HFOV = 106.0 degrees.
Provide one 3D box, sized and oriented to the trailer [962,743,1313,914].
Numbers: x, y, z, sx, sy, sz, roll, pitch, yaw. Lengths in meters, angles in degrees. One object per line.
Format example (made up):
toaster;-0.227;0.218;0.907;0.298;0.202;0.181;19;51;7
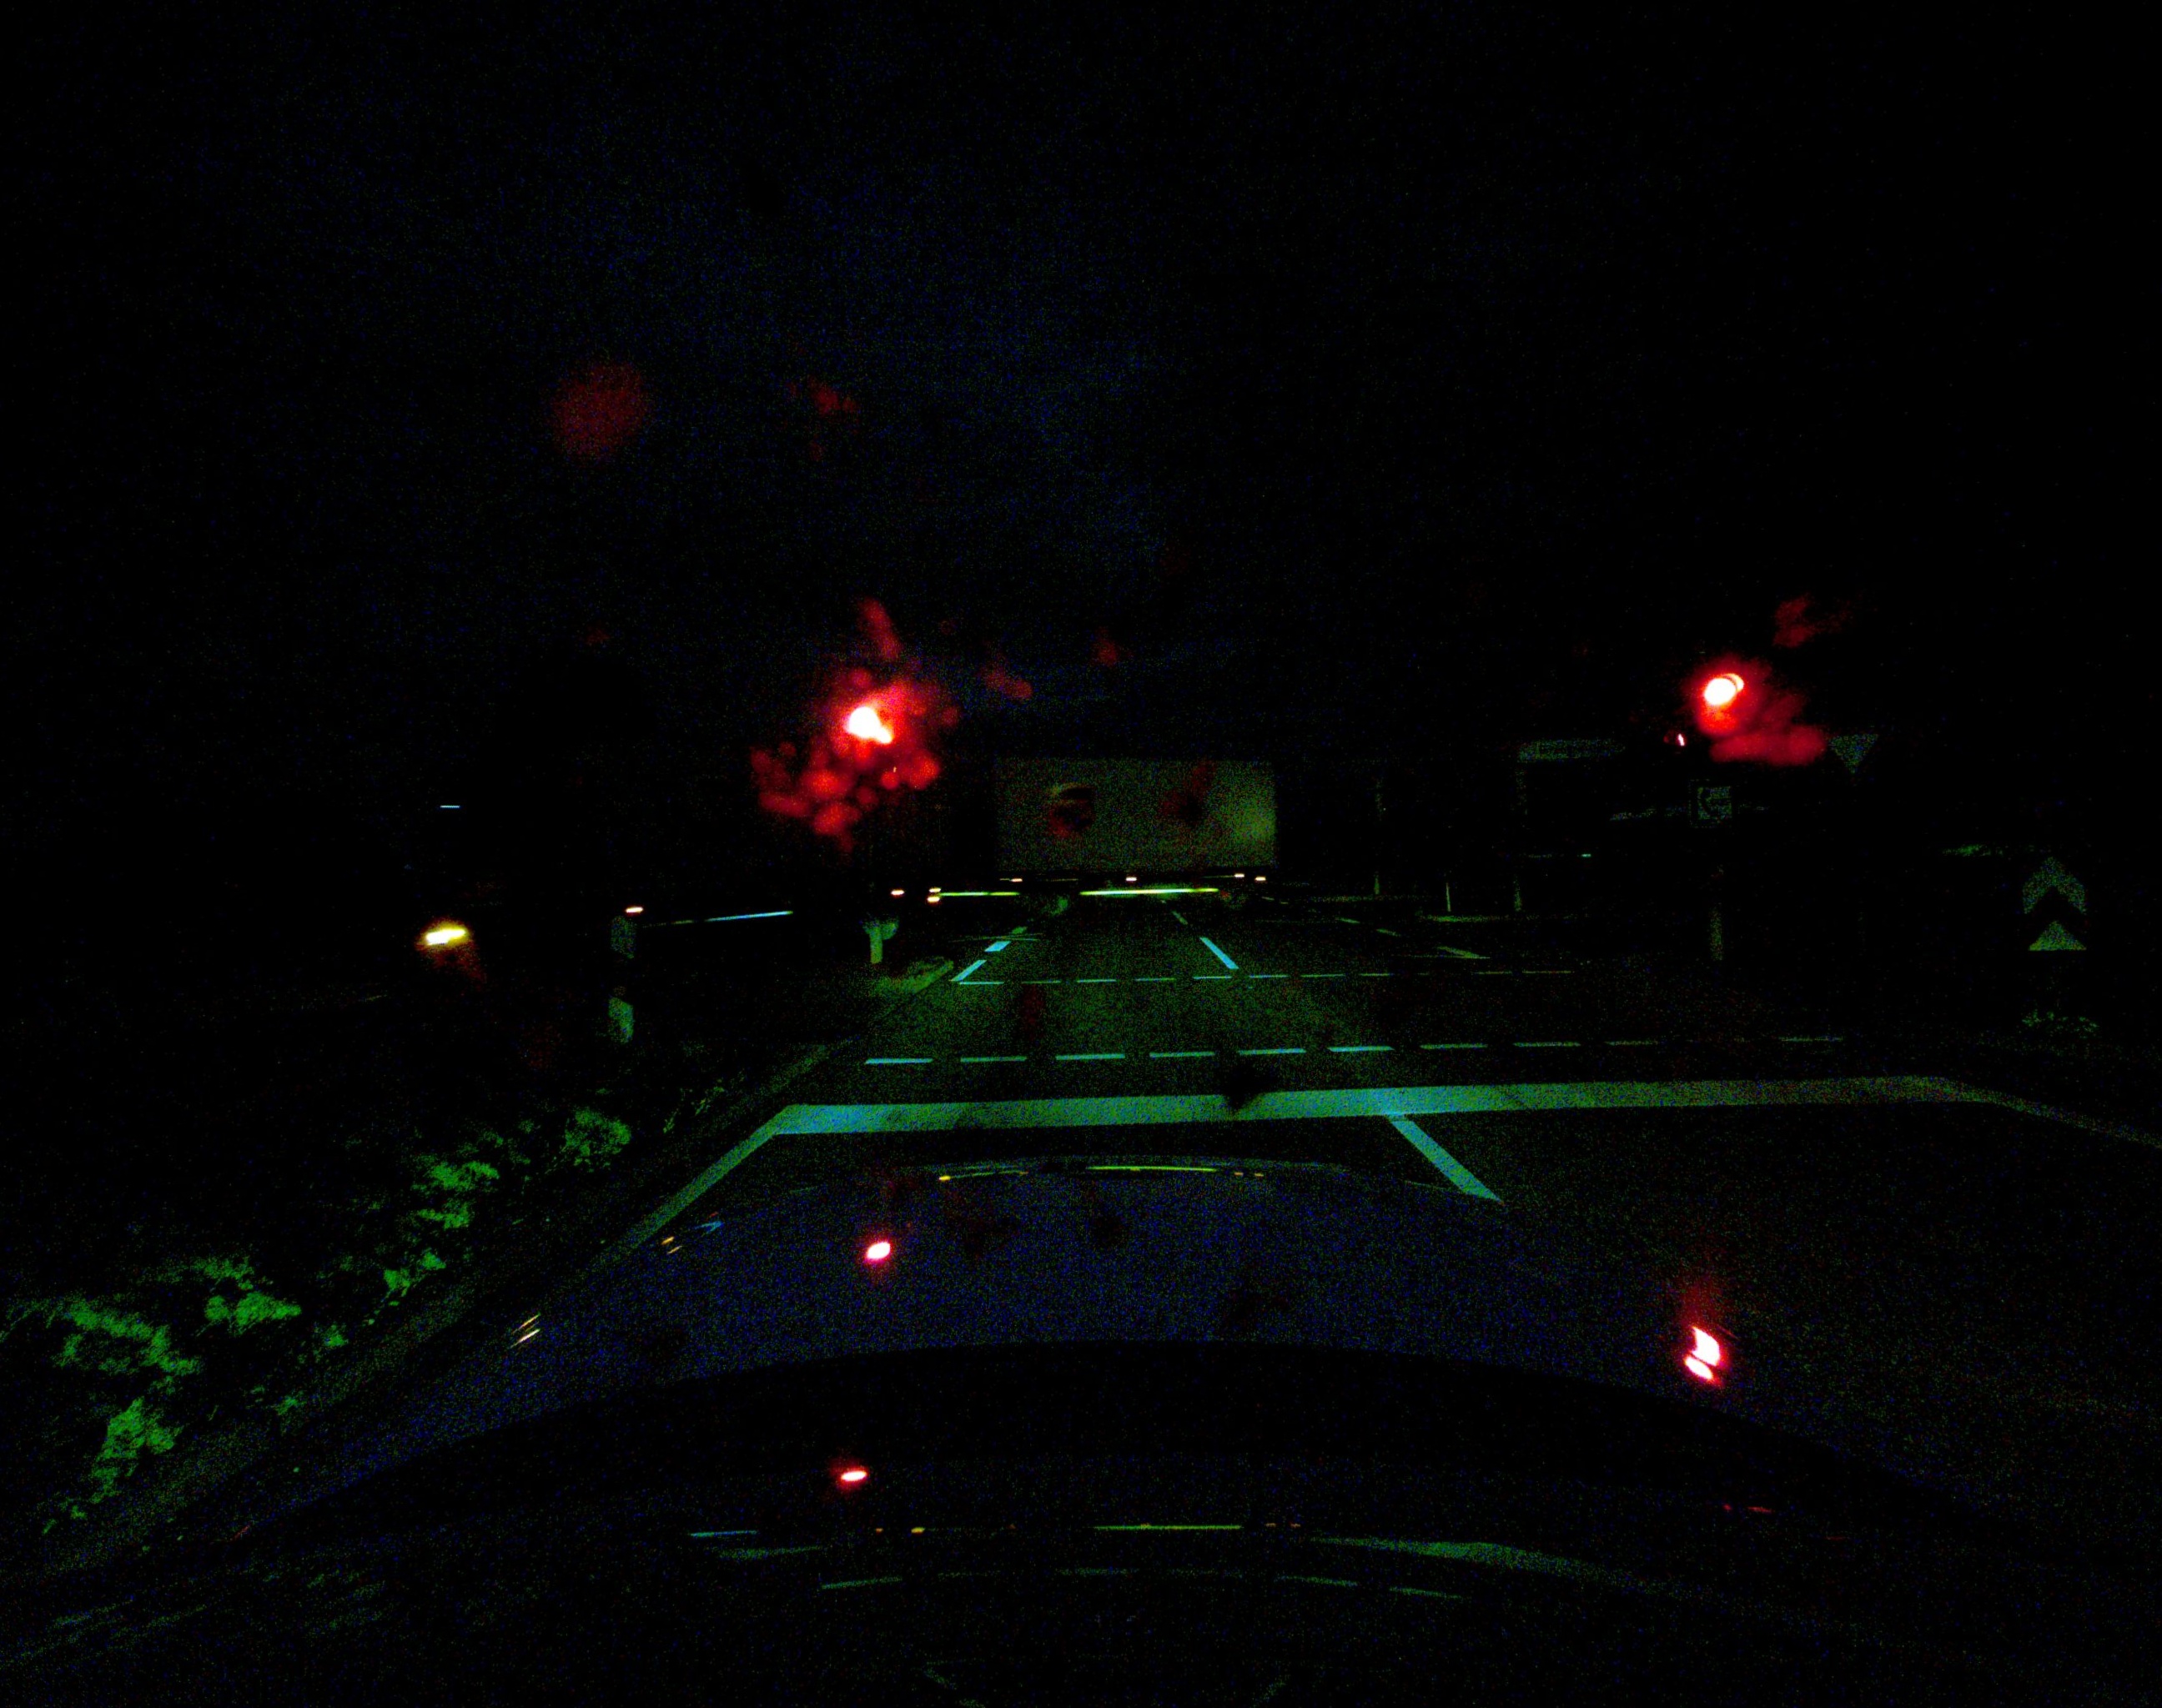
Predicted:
trailer;1.452;-0.729;21.731;8.857;3.943;2.574;-3;0;-13

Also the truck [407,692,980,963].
truck;-7.160;-0.453;16.958;10.405;4.117;2.701;-1;-1;-44

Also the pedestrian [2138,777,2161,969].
pedestrian;11.764;0.196;8.389;0.775;2.014;0.714;0;-1;3

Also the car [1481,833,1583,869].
car;23.578;-0.157;42.614;4.419;1.664;2.013;-3;0;36
